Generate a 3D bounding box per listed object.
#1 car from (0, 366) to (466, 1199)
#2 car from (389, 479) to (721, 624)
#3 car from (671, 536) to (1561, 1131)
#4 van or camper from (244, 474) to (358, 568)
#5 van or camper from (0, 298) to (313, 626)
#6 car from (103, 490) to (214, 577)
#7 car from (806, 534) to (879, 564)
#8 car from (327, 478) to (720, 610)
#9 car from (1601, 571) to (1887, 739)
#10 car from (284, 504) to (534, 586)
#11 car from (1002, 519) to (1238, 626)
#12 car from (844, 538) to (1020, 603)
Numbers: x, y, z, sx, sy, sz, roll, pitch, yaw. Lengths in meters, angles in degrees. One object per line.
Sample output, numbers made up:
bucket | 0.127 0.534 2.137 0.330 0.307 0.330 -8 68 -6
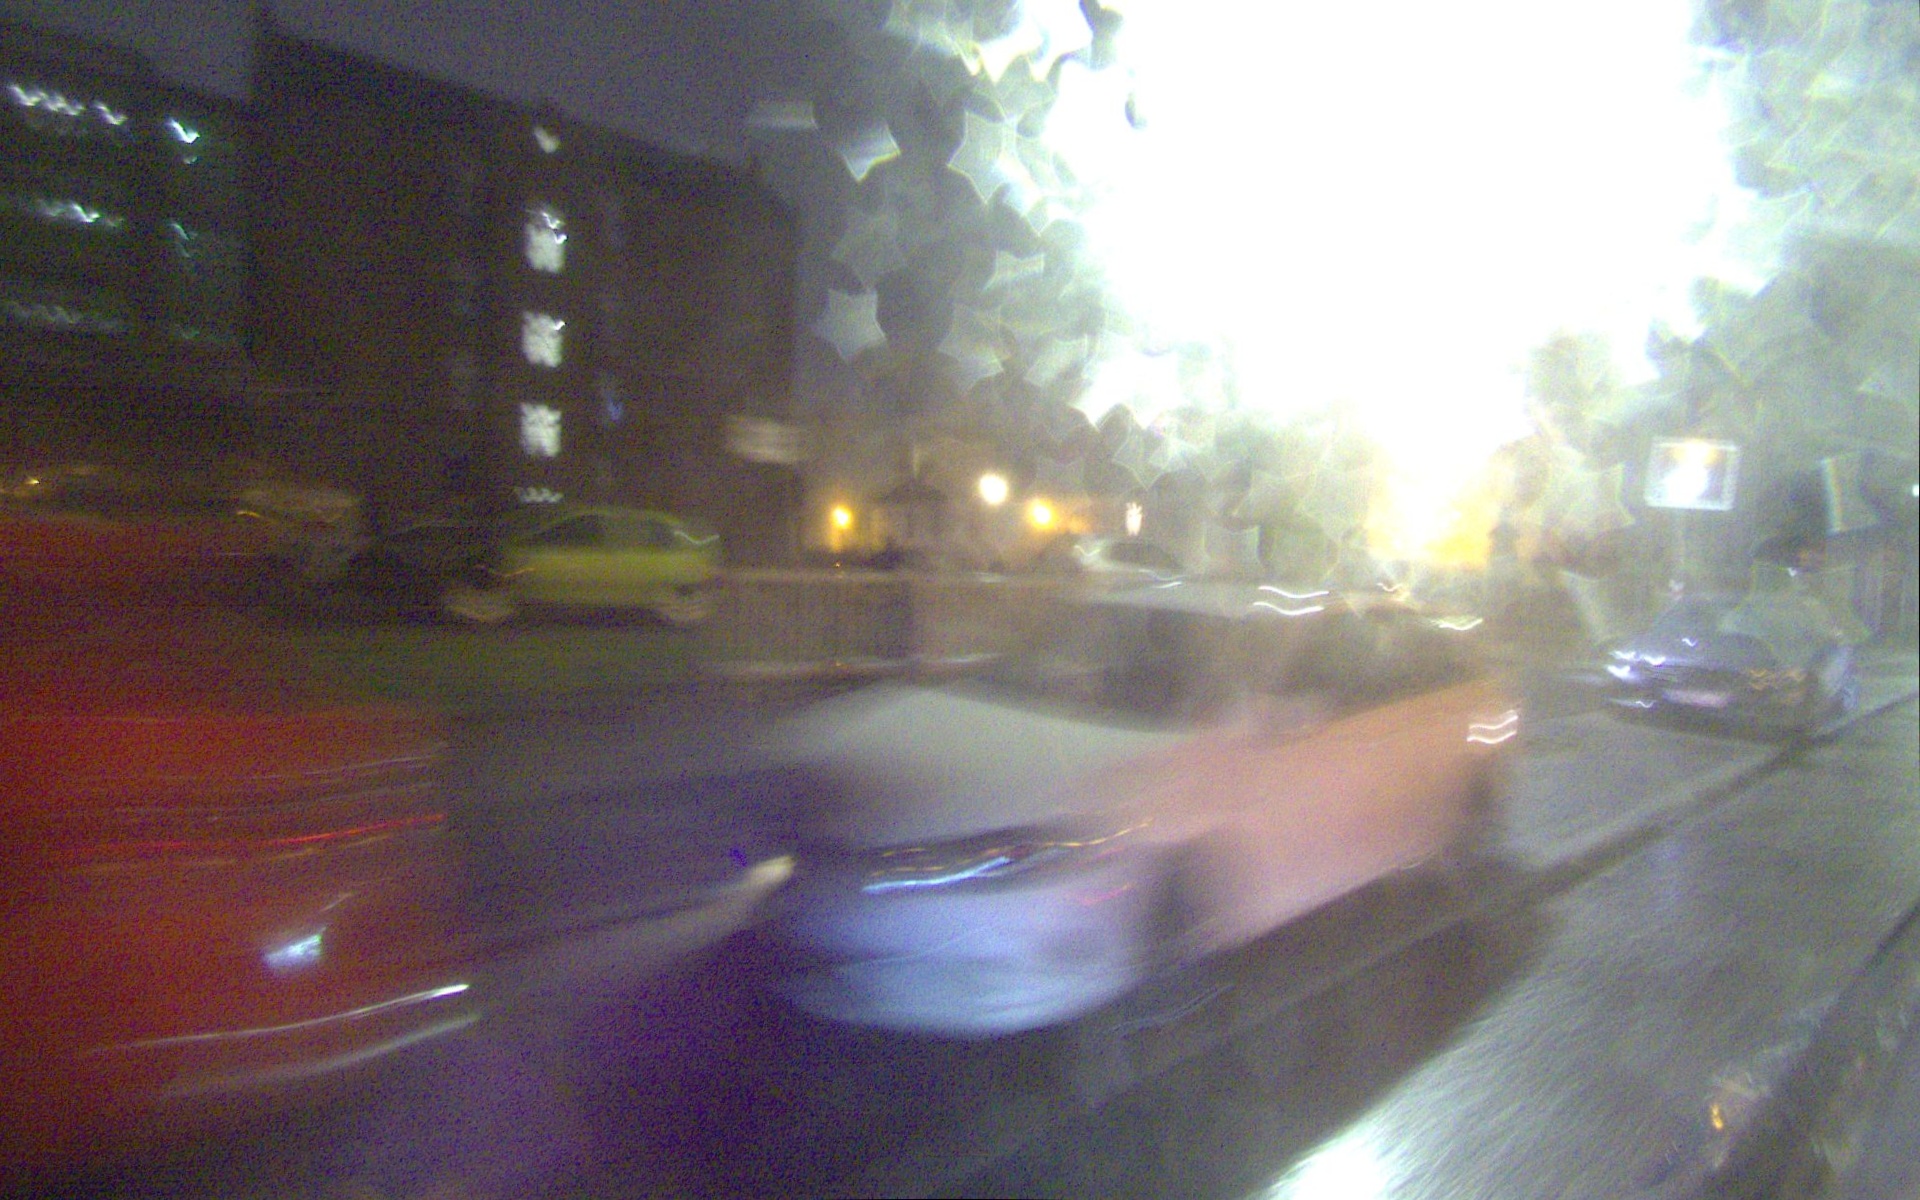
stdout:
car | -3.001 0.445 1.040 4.117 1.728 1.716 1 5 -44
car | -4.761 -0.538 12.087 3.347 1.487 1.567 1 3 -40
car | 1.083 0.555 4.727 4.361 1.506 1.716 0 4 -43
van or camper | -20.275 -2.399 31.019 2.340 2.584 5.391 0 4 -40
van or camper | -8.287 -1.224 10.524 2.132 2.557 5.078 1 3 -38
car | -16.634 -1.380 20.925 1.539 1.596 3.994 1 3 -42
car | -6.654 -2.897 57.371 3.722 1.527 1.754 0 4 -38
car | -6.030 -0.712 14.360 4.780 1.566 1.834 1 3 -40
car | 9.279 0.506 11.813 4.709 1.466 1.793 0 5 -43
car | -10.972 -1.067 20.295 4.183 1.431 1.684 0 3 -39
car | 2.961 -0.476 18.320 4.182 1.716 1.908 0 2 -39
car | -0.651 -0.718 25.365 4.182 1.486 1.830 0 2 -39
